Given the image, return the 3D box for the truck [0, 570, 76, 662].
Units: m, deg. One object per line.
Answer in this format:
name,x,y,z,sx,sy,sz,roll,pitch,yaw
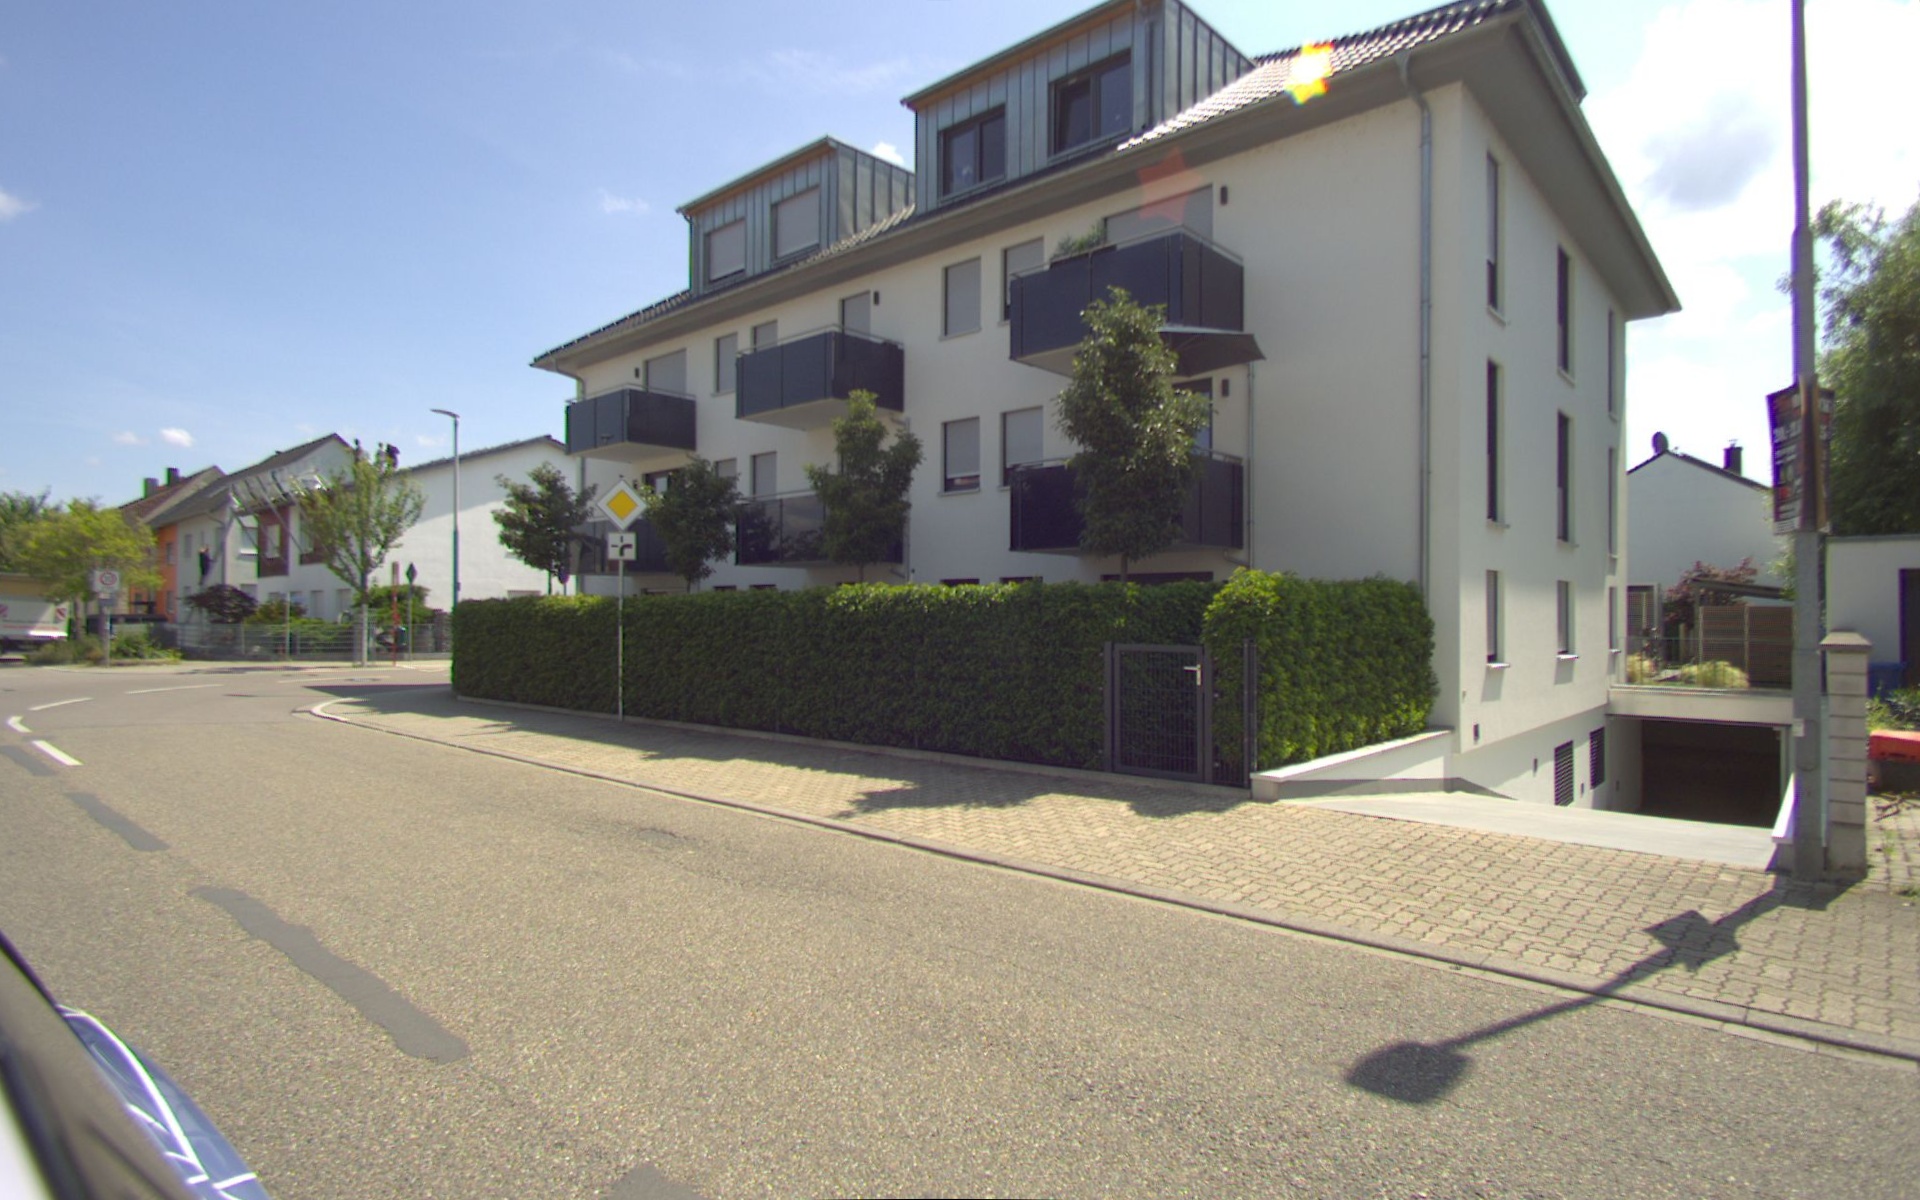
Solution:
truck,-36.689,0.644,39.214,7.030,3.271,2.413,-1,-4,40
